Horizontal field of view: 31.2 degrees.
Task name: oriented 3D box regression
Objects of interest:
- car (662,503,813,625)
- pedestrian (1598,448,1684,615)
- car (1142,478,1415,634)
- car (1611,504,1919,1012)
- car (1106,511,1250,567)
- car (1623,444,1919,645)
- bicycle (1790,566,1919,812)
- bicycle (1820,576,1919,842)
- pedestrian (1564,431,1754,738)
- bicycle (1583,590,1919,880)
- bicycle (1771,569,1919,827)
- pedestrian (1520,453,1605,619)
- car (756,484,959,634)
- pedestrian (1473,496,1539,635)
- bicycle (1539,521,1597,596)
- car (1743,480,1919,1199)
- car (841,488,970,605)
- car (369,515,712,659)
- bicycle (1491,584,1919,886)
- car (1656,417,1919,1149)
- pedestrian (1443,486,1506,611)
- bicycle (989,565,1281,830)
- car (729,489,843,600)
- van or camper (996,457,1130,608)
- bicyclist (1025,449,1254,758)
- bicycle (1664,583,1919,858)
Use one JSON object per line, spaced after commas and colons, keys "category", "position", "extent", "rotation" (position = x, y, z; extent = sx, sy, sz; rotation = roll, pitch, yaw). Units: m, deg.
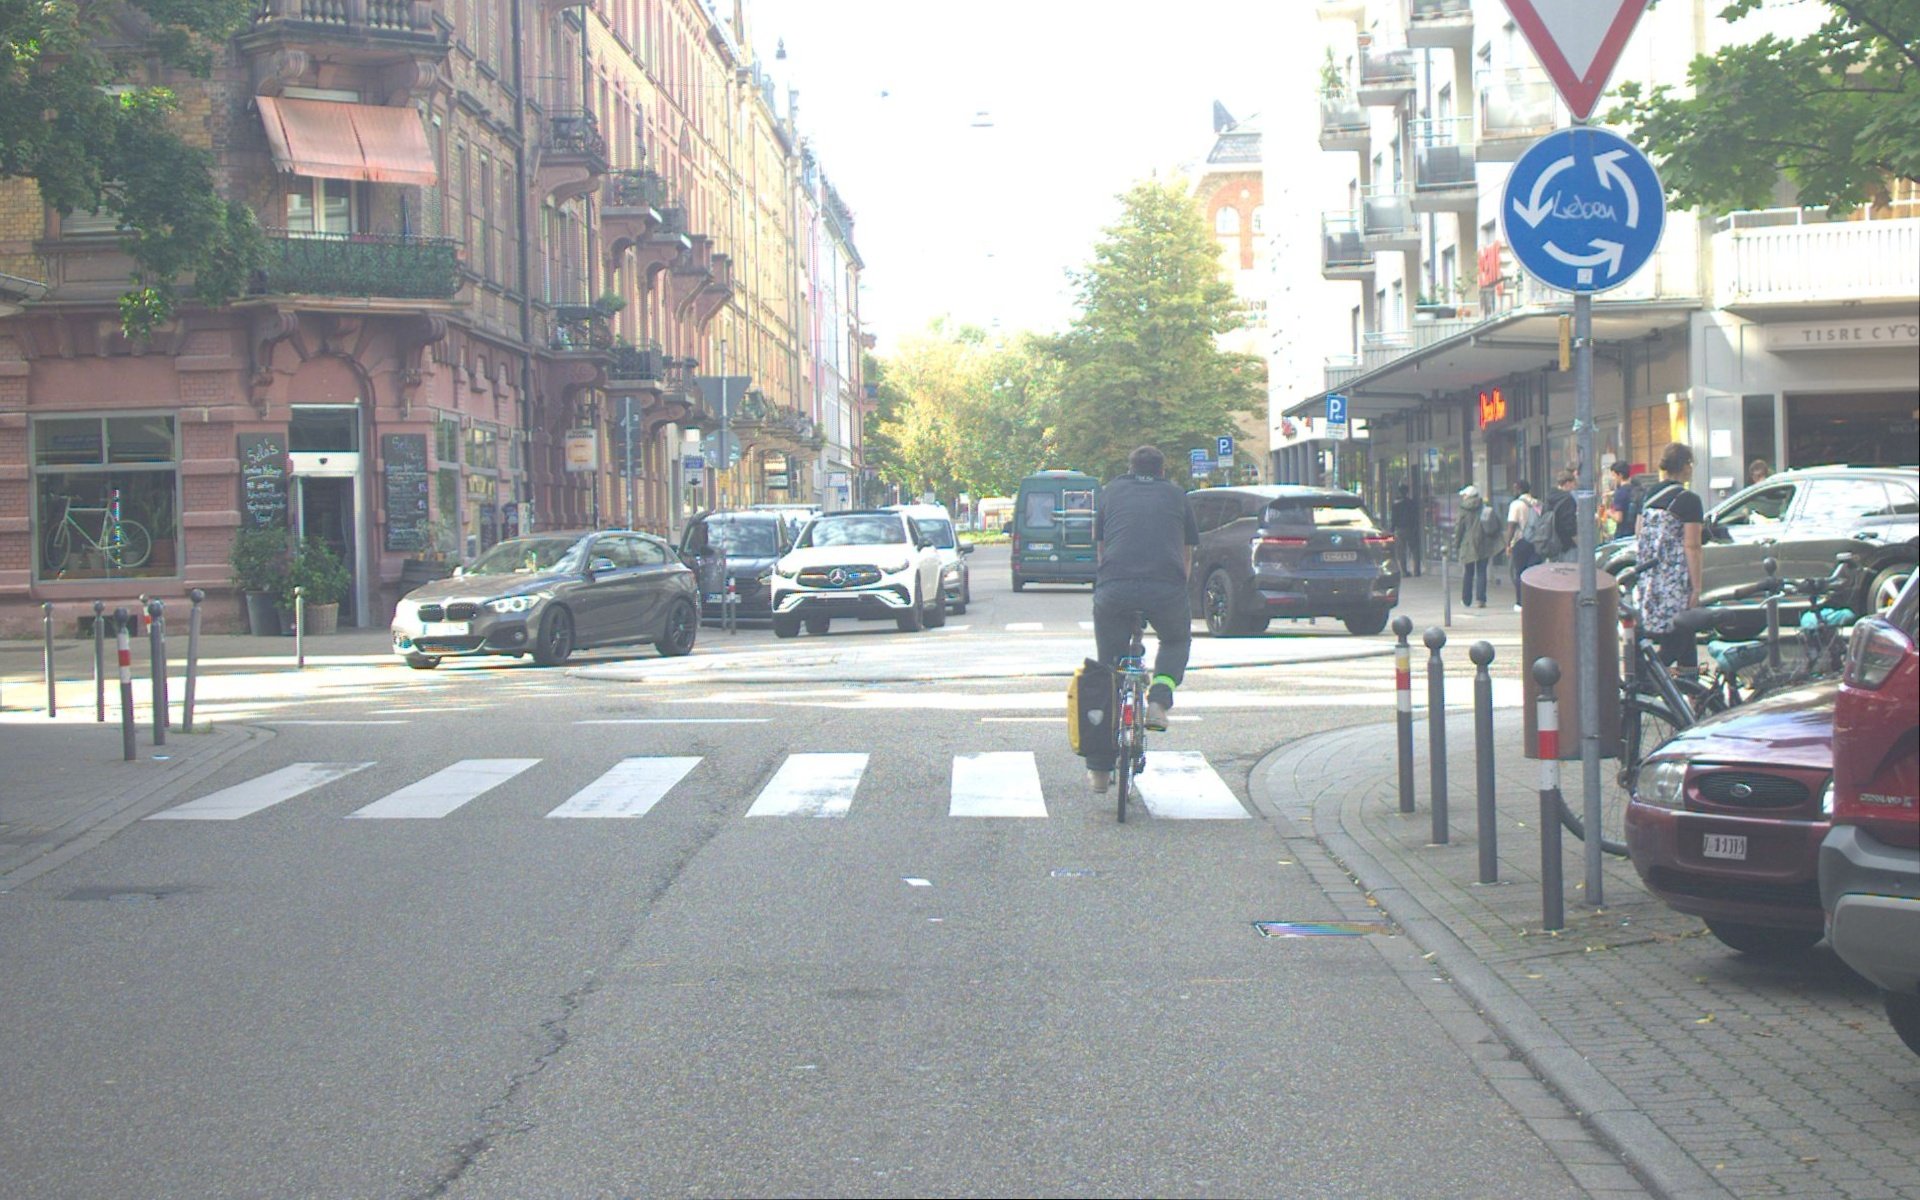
{"category": "car", "position": [-3.424, -0.596, 53.618], "extent": [1.783, 1.718, 4.445], "rotation": [0, 3, 4]}
{"category": "pedestrian", "position": [7.665, -0.776, 38.705], "extent": [0.869, 1.845, 0.612], "rotation": [-1, 1, 6]}
{"category": "car", "position": [3.511, -0.512, 38.631], "extent": [1.993, 1.612, 4.001], "rotation": [-2, 1, -11]}
{"category": "car", "position": [4.265, 0.389, 11.185], "extent": [3.931, 1.452, 1.770], "rotation": [-2, 2, -27]}
{"category": "car", "position": [6.305, -1.777, 99.686], "extent": [3.987, 1.481, 2.000], "rotation": [-2, 1, -1]}
{"category": "car", "position": [8.660, -0.535, 31.286], "extent": [2.037, 1.718, 4.843], "rotation": [-5, 4, -42]}
{"category": "bicycle", "position": [4.377, 0.379, 14.649], "extent": [0.388, 1.036, 1.921], "rotation": [-5, 2, -28]}
{"category": "bicycle", "position": [4.131, 0.429, 13.364], "extent": [0.347, 1.036, 1.857], "rotation": [-5, 2, -26]}
{"category": "pedestrian", "position": [4.159, -0.101, 20.437], "extent": [0.783, 1.773, 0.791], "rotation": [-1, 2, 40]}
{"category": "bicycle", "position": [3.258, 0.502, 13.541], "extent": [0.459, 1.036, 1.857], "rotation": [-5, 2, -28]}
{"category": "bicycle", "position": [4.180, 0.398, 14.097], "extent": [0.443, 1.036, 1.906], "rotation": [-5, 2, -28]}
{"category": "pedestrian", "position": [6.801, -0.722, 38.832], "extent": [0.869, 1.845, 0.612], "rotation": [-1, 1, 6]}
{"category": "car", "position": [-1.309, -0.601, 46.232], "extent": [1.943, 1.716, 4.849], "rotation": [-3, 3, 7]}
{"category": "pedestrian", "position": [6.807, -0.434, 42.824], "extent": [0.741, 1.706, 0.733], "rotation": [-1, 1, 12]}
{"category": "bicycle", "position": [8.329, -0.577, 47.100], "extent": [0.362, 1.013, 1.431], "rotation": [-2, 1, -7]}
{"category": "car", "position": [3.744, 0.471, 5.800], "extent": [4.400, 1.452, 1.943], "rotation": [-2, 2, -23]}
{"category": "car", "position": [-0.863, -0.916, 57.064], "extent": [1.793, 1.784, 4.736], "rotation": [-3, 1, 2]}
{"category": "car", "position": [-4.372, -0.152, 36.468], "extent": [1.752, 1.431, 4.207], "rotation": [0, 1, 23]}
{"category": "bicycle", "position": [2.867, 0.491, 13.225], "extent": [0.548, 1.036, 1.857], "rotation": [-6, 2, -28]}
{"category": "car", "position": [4.104, 0.264, 8.552], "extent": [4.340, 1.639, 1.822], "rotation": [-4, 2, -25]}
{"category": "pedestrian", "position": [6.852, -0.692, 45.794], "extent": [0.745, 1.623, 0.812], "rotation": [-1, 1, 12]}
{"category": "bicycle", "position": [0.907, 0.431, 16.943], "extent": [0.666, 1.174, 2.494], "rotation": [0, 1, 22]}
{"category": "car", "position": [-3.303, -1.076, 65.831], "extent": [1.993, 2.007, 4.000], "rotation": [-2, 1, -1]}
{"category": "van or camper", "position": [2.127, -1.437, 72.596], "extent": [2.531, 3.026, 4.459], "rotation": [-1, 1, -1]}
{"category": "bicyclist", "position": [0.888, 0.006, 16.924], "extent": [0.934, 1.478, 0.746], "rotation": [0, 1, 22]}
{"category": "bicycle", "position": [3.610, 0.465, 13.711], "extent": [0.347, 1.036, 2.018], "rotation": [-5, 2, -26]}
